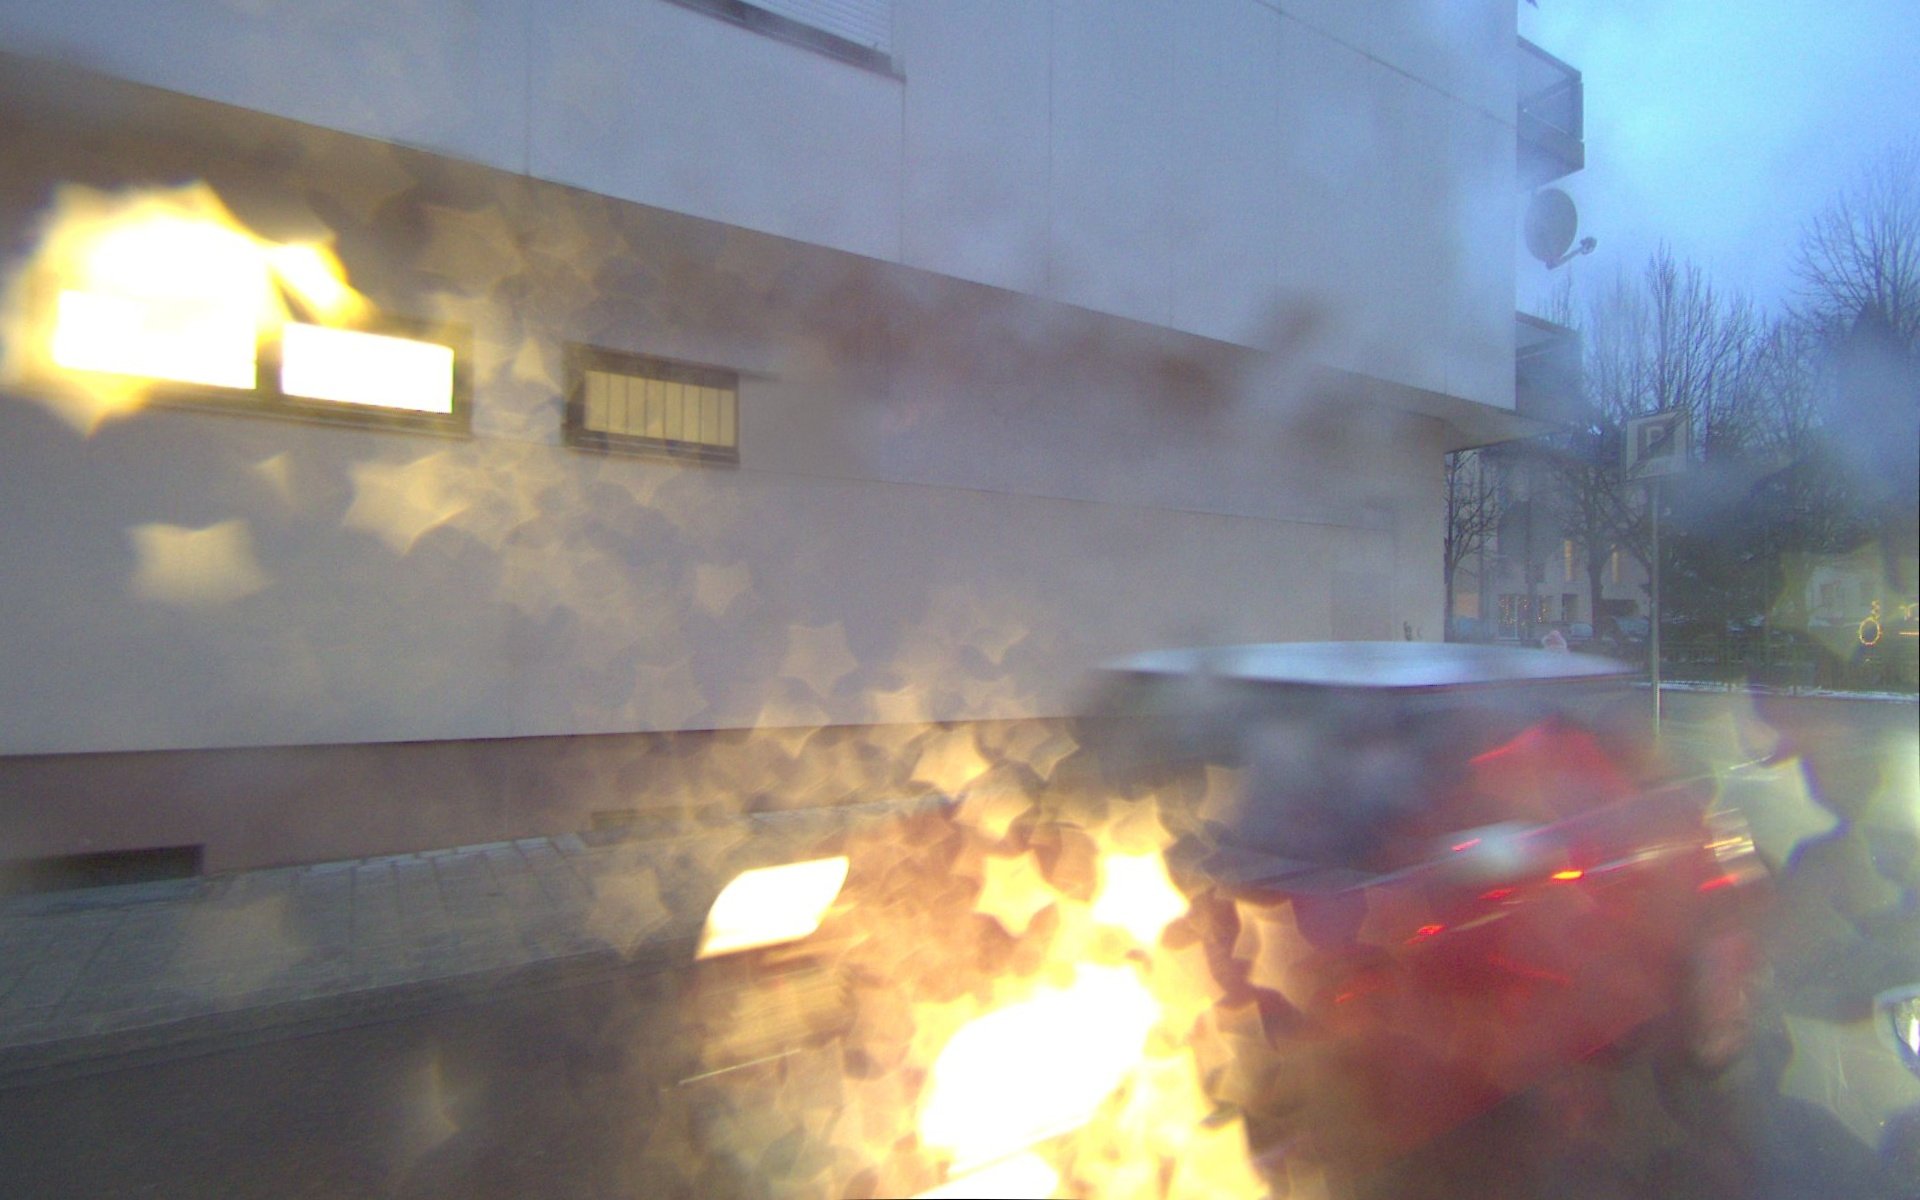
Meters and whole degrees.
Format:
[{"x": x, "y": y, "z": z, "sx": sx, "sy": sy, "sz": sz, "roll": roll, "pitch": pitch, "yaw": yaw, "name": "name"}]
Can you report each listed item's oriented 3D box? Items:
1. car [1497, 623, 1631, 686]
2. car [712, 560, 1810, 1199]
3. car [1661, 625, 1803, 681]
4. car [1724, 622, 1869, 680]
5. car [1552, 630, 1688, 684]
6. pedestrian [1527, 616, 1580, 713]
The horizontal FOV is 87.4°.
[{"x": 20.714, "y": 1.802, "z": 34.645, "sx": 1.786, "sy": 2.015, "sz": 3.993, "roll": 0, "pitch": -1, "yaw": -10, "name": "car"}, {"x": 1.096, "y": 0.745, "z": 3.268, "sx": 3.368, "sy": 1.556, "sz": 1.629, "roll": 1, "pitch": -1, "yaw": -32, "name": "car"}, {"x": 28.425, "y": 1.895, "z": 37.146, "sx": 1.786, "sy": 1.936, "sz": 3.993, "roll": 0, "pitch": -1, "yaw": -10, "name": "car"}, {"x": 31.323, "y": 1.868, "z": 37.771, "sx": 1.786, "sy": 2.025, "sz": 3.993, "roll": 0, "pitch": -1, "yaw": -10, "name": "car"}, {"x": 23.313, "y": 1.953, "z": 35.650, "sx": 1.786, "sy": 1.753, "sz": 3.993, "roll": 0, "pitch": -1, "yaw": -10, "name": "car"}, {"x": 9.362, "y": 0.992, "z": 15.855, "sx": 0.638, "sy": 1.478, "sz": 0.650, "roll": 0, "pitch": 0, "yaw": 24, "name": "pedestrian"}]
